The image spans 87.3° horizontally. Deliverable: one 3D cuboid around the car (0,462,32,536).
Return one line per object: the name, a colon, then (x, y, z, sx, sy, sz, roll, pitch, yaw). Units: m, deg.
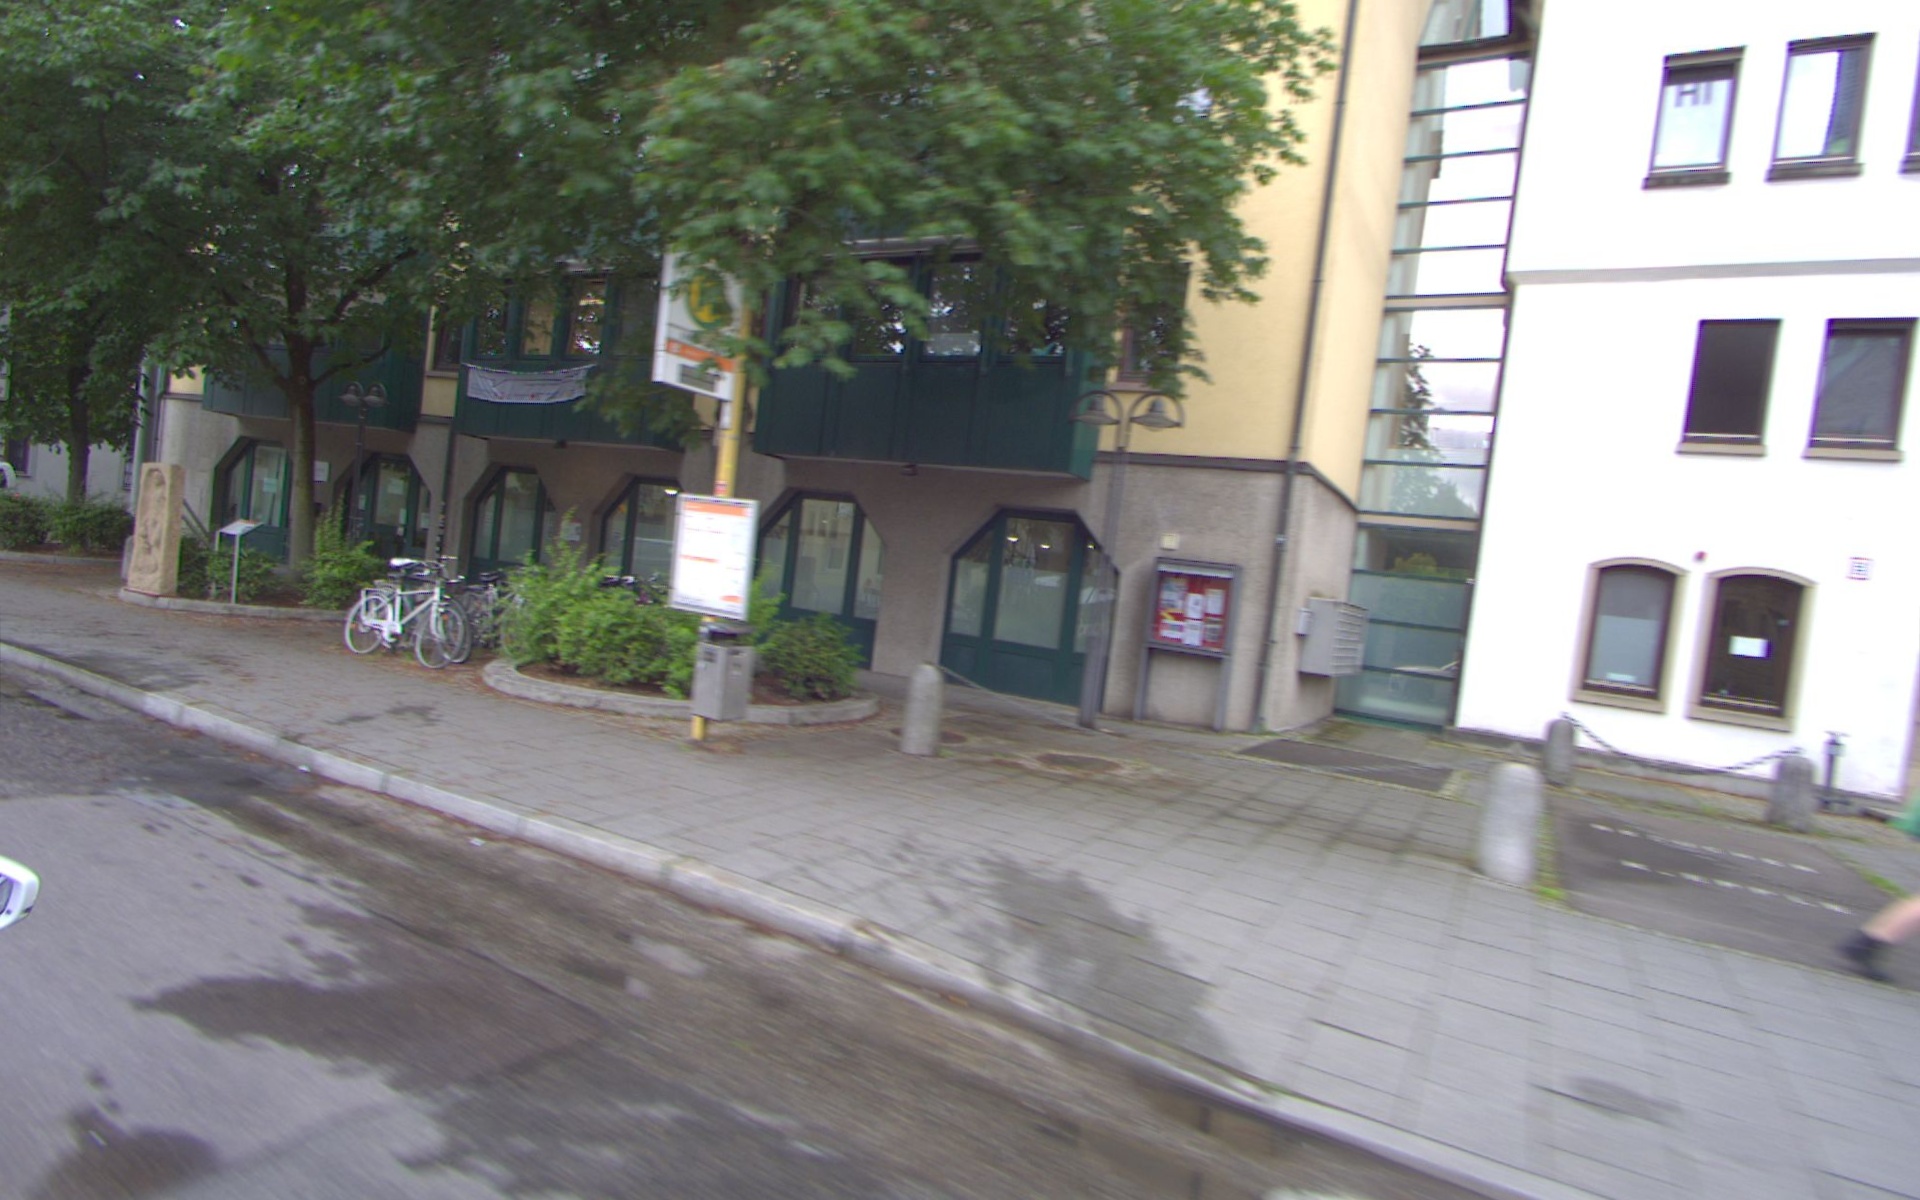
car: (-26.198, -2.791, 24.922, 1.814, 1.820, 4.252, 9, 2, 23)

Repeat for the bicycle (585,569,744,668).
bicycle: (-4.105, 0.241, 13.902, 2.251, 1.083, 0.545, 7, 2, 26)

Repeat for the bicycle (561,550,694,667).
bicycle: (-4.378, 0.092, 13.173, 1.925, 1.316, 0.333, 7, 1, 30)

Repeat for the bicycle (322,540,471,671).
bicycle: (-5.926, 0.039, 10.540, 1.925, 1.155, 0.333, 7, 1, 30)

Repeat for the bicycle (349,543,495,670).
bicycle: (-5.846, 0.052, 10.885, 1.925, 1.156, 0.333, 7, 1, 30)

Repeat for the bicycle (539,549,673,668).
bicycle: (-4.566, 0.091, 12.905, 1.925, 1.316, 0.333, 7, 1, 30)

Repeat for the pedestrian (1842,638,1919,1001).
pedestrian: (5.050, 1.111, 4.954, 0.847, 1.738, 0.601, 8, 2, 38)

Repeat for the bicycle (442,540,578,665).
bicycle: (-5.507, 0.010, 12.259, 1.925, 1.316, 0.333, 7, 1, 30)

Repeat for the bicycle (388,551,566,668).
bicycle: (-5.674, 0.091, 11.763, 2.251, 1.083, 0.545, 7, 2, 26)
